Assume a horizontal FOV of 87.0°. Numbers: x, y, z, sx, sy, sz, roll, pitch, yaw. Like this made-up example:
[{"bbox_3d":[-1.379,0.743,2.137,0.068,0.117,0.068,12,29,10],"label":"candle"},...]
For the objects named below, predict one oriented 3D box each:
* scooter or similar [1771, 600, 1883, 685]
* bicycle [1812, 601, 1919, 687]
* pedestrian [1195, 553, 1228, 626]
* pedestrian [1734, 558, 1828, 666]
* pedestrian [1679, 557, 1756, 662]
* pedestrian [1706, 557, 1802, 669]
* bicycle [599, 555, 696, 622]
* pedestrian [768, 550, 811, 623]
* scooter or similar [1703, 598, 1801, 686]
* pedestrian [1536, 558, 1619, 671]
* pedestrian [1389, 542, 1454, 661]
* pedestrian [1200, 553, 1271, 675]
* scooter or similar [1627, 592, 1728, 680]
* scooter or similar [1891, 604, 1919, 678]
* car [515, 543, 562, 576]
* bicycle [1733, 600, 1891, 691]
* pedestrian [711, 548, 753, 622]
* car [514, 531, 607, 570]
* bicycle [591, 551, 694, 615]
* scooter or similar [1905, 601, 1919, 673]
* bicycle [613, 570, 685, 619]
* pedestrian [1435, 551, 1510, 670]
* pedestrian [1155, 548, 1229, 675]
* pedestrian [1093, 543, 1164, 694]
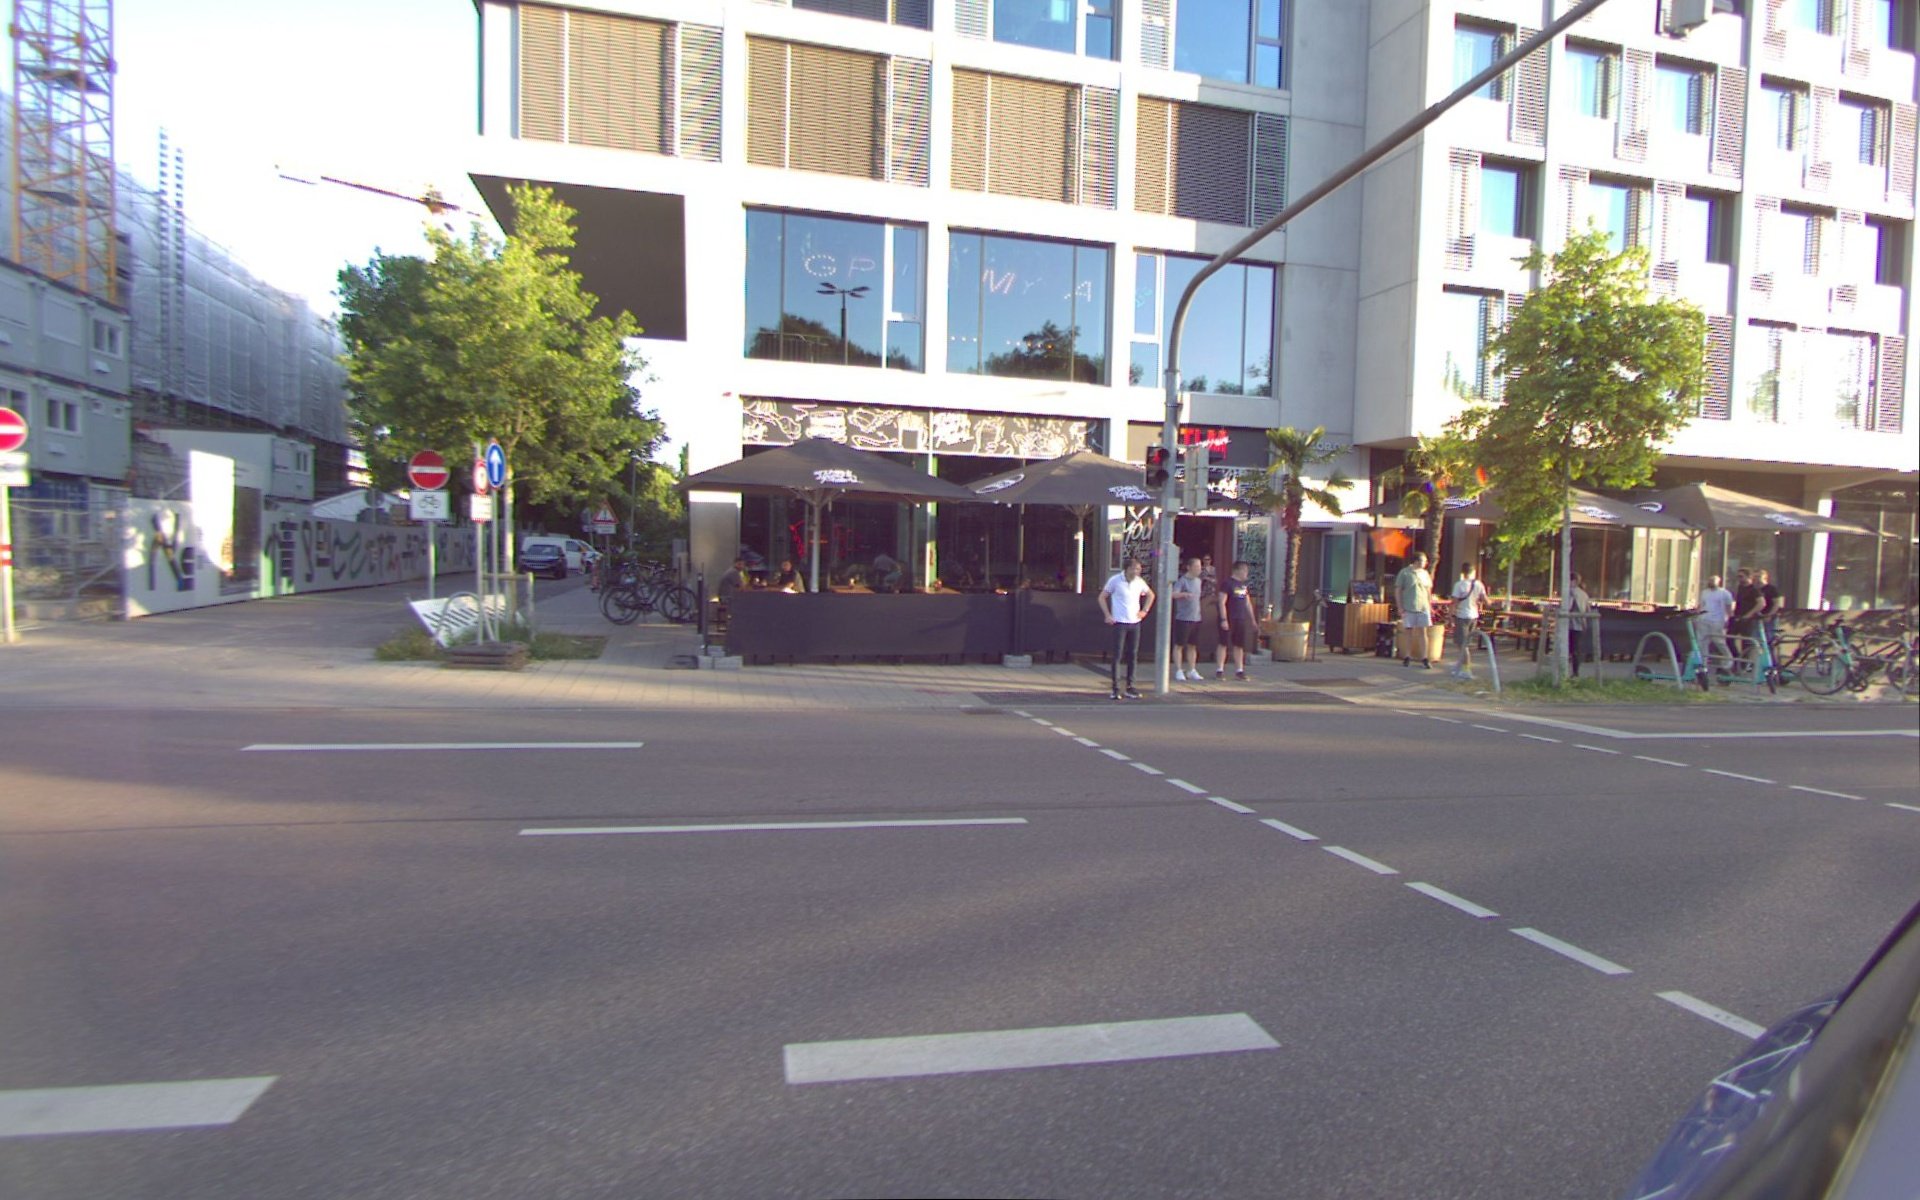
[{"bbox_3d":[13.898,0.661,16.259,0.470,1.215,1.217,1,5,-19],"label":"scooter or similar"},{"bbox_3d":[15.051,0.707,16.371,0.595,1.195,1.858,1,5,-16],"label":"bicycle"},{"bbox_3d":[5.708,-0.232,22.955,0.546,1.621,0.453,1,0,-14],"label":"pedestrian"},{"bbox_3d":[14.669,0.195,18.102,0.921,1.846,0.760,1,4,-6],"label":"pedestrian"},{"bbox_3d":[13.692,0.158,18.311,0.761,1.832,0.622,1,5,-6],"label":"pedestrian"},{"bbox_3d":[13.811,0.209,17.627,0.921,1.870,0.748,1,5,-6],"label":"pedestrian"},{"bbox_3d":[-5.857,-0.221,19.047,1.709,1.225,0.589,0,1,-14],"label":"bicycle"},{"bbox_3d":[-3.302,-0.277,19.615,0.700,1.334,0.749,2,5,-3],"label":"pedestrian"},{"bbox_3d":[12.378,0.634,15.850,0.538,1.237,1.067,1,5,-6],"label":"scooter or similar"},{"bbox_3d":[9.838,0.211,16.146,0.565,1.724,0.858,0,4,-24],"label":"pedestrian"},{"bbox_3d":[7.804,-0.003,17.151,0.816,1.910,0.862,2,4,17],"label":"pedestrian"},{"bbox_3d":[4.053,0.188,14.918,0.642,1.722,0.691,1,4,-18],"label":"pedestrian"},{"bbox_3d":[11.164,0.542,15.776,0.586,1.238,1.058,1,4,-19],"label":"scooter or similar"},{"bbox_3d":[16.322,0.719,16.776,0.499,1.205,1.163,-1,5,-13],"label":"scooter or similar"},{"bbox_3d":[-19.363,-1.878,46.608,1.634,1.369,4.011,1,3,-18],"label":"car"},{"bbox_3d":[13.466,0.687,16.076,0.556,1.207,1.805,1,5,-20],"label":"bicycle"},{"bbox_3d":[-4.326,-0.304,19.246,0.609,1.334,0.615,2,5,3],"label":"pedestrian"},{"bbox_3d":[-22.891,-2.841,58.070,4.694,2.011,1.670,2,3,1],"label":"car"},{"bbox_3d":[-6.252,-0.327,20.004,1.915,1.226,0.545,0,0,-14],"label":"bicycle"},{"bbox_3d":[16.965,0.689,17.268,0.522,1.227,1.133,0,5,0],"label":"scooter or similar"},{"bbox_3d":[-5.999,-0.105,19.568,1.315,0.940,0.413,0,0,-14],"label":"bicycle"},{"bbox_3d":[8.138,0.142,16.096,0.566,1.807,0.831,0,4,-17],"label":"pedestrian"},{"bbox_3d":[3.363,0.156,14.717,0.673,1.755,0.763,1,4,-16],"label":"pedestrian"},{"bbox_3d":[2.152,0.214,12.978,0.757,1.870,0.678,2,3,4],"label":"pedestrian"}]
